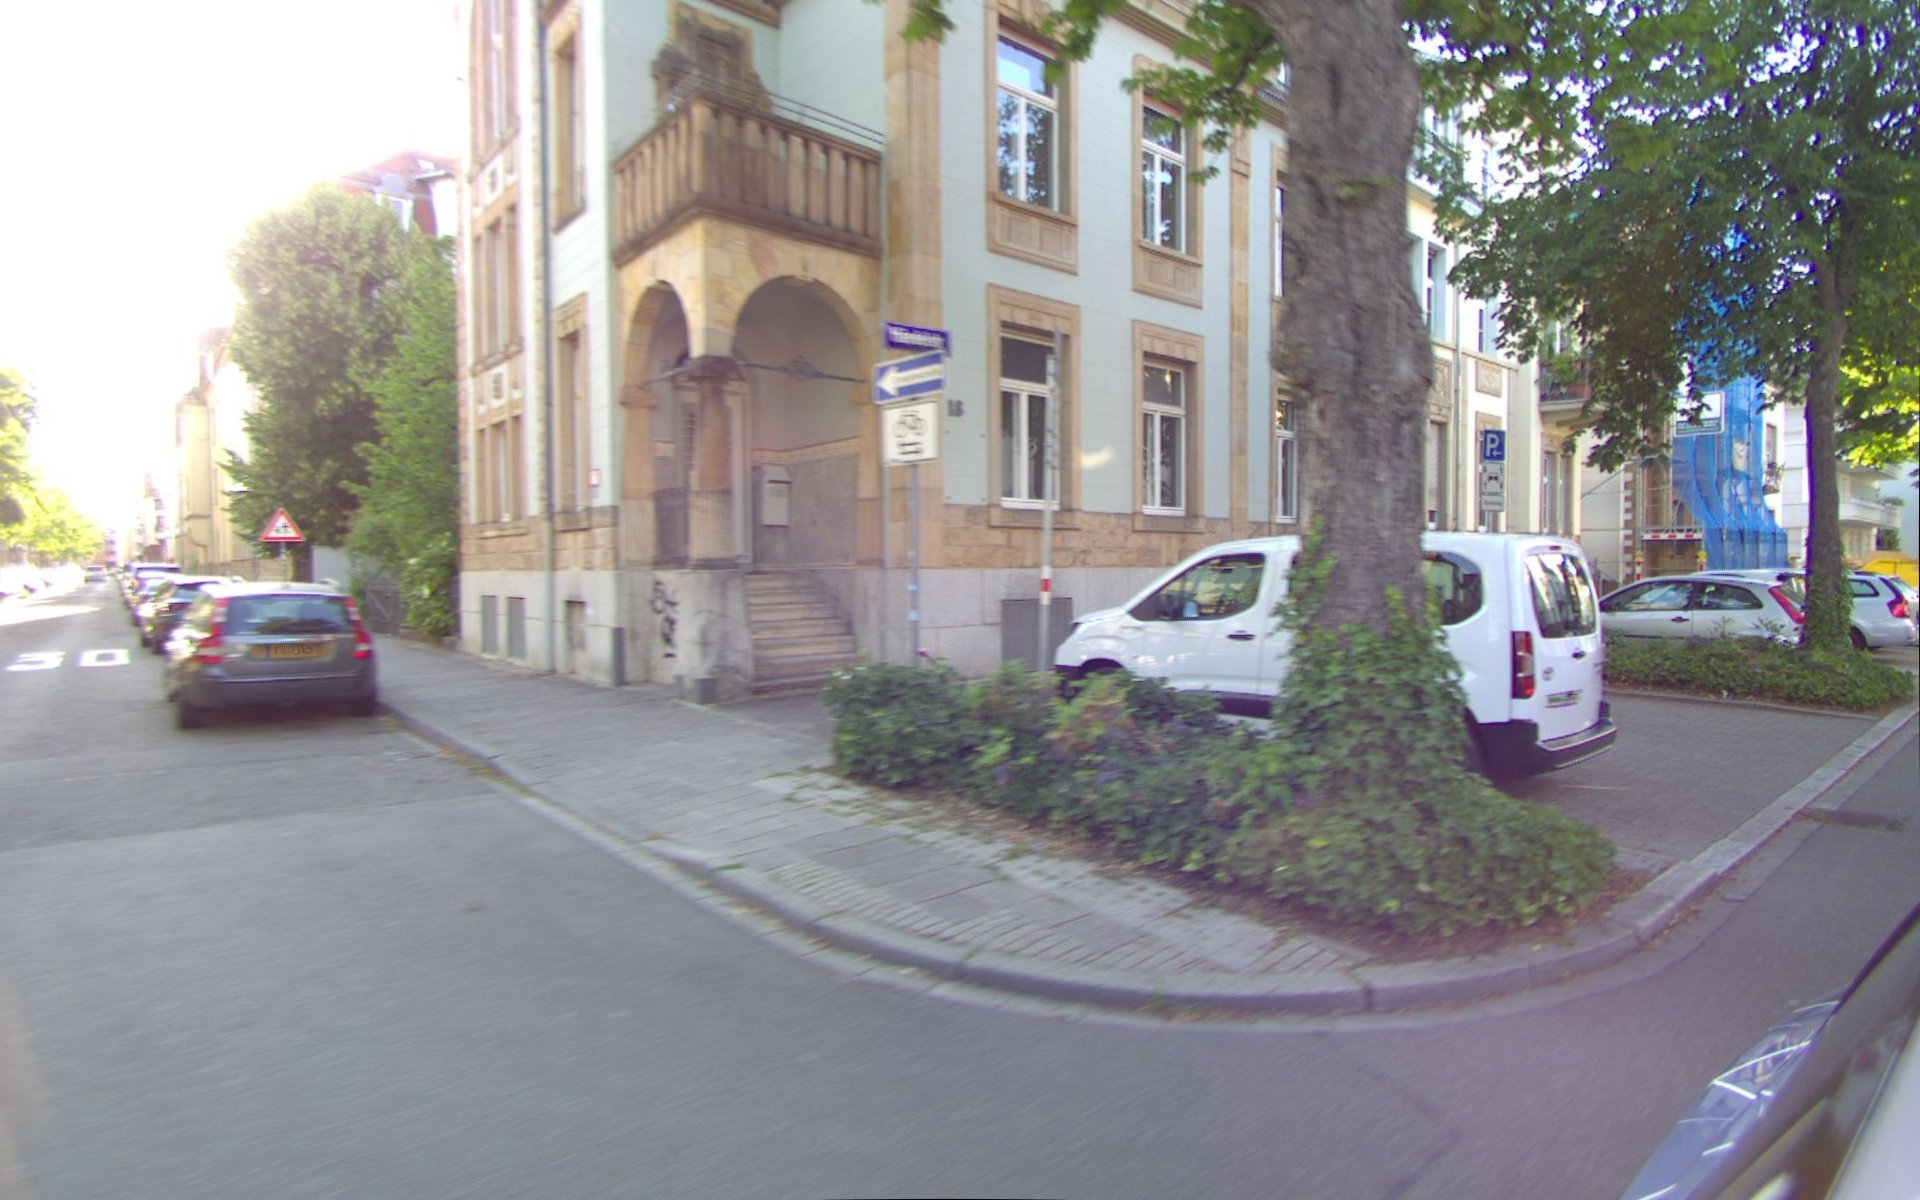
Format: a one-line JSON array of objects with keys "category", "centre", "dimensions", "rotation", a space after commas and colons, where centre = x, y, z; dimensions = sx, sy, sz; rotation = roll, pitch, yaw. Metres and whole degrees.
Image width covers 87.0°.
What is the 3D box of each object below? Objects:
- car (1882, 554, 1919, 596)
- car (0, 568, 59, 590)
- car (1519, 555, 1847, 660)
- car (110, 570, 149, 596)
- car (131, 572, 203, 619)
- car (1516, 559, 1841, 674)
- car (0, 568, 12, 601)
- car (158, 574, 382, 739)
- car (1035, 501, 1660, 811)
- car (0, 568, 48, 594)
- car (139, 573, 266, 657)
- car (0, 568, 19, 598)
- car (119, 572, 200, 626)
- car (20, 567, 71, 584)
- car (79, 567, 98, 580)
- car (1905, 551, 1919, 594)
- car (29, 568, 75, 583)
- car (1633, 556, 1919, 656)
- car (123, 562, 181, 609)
[{"category": "car", "centre": [41.342, -1.015, 42.032], "dimensions": [1.677, 1.703, 4.337], "rotation": [-1, 3, -43]}, {"category": "car", "centre": [-70.824, -1.600, 76.672], "dimensions": [3.724, 1.616, 1.669], "rotation": [-1, 2, -41]}, {"category": "car", "centre": [12.400, 0.015, 17.596], "dimensions": [1.796, 1.553, 4.323], "rotation": [-2, 4, -40]}, {"category": "car", "centre": [-50.390, -1.048, 61.380], "dimensions": [1.727, 1.494, 4.164], "rotation": [-1, 2, -41]}, {"category": "car", "centre": [-27.115, -0.216, 34.558], "dimensions": [1.727, 1.494, 4.164], "rotation": [-1, 2, -41]}, {"category": "car", "centre": [10.891, 0.139, 15.547], "dimensions": [1.704, 1.480, 3.756], "rotation": [-2, 4, -41]}, {"category": "car", "centre": [-49.186, -0.759, 49.712], "dimensions": [3.724, 1.616, 1.669], "rotation": [-1, 2, -41]}, {"category": "car", "centre": [-7.901, 0.479, 11.421], "dimensions": [1.627, 1.494, 4.164], "rotation": [0, 1, -41]}, {"category": "car", "centre": [2.837, 0.206, 8.236], "dimensions": [1.965, 1.829, 4.323], "rotation": [-2, 4, -41]}, {"category": "car", "centre": [-59.616, -1.204, 63.305], "dimensions": [3.724, 1.616, 1.669], "rotation": [-1, 2, -41]}, {"category": "car", "centre": [-15.089, 0.210, 20.088], "dimensions": [1.727, 1.494, 4.164], "rotation": [-1, 2, -41]}, {"category": "car", "centre": [-52.429, -0.910, 53.569], "dimensions": [3.724, 1.616, 1.669], "rotation": [-1, 2, -41]}, {"category": "car", "centre": [-24.041, -0.097, 30.344], "dimensions": [1.727, 1.494, 4.164], "rotation": [-1, 2, -41]}, {"category": "car", "centre": [-90.812, -2.430, 100.556], "dimensions": [3.724, 1.616, 1.669], "rotation": [-1, 2, -41]}, {"category": "car", "centre": [-104.187, -3.215, 120.956], "dimensions": [1.727, 1.494, 4.164], "rotation": [-1, 2, -41]}, {"category": "car", "centre": [47.278, -1.290, 47.268], "dimensions": [1.864, 2.038, 4.476], "rotation": [-2, 2, -42]}, {"category": "car", "centre": [-99.157, -2.733, 110.547], "dimensions": [3.724, 1.616, 1.669], "rotation": [-1, 2, -41]}, {"category": "car", "centre": [14.889, 0.016, 18.349], "dimensions": [1.656, 1.553, 4.156], "rotation": [-2, 4, -38]}, {"category": "car", "centre": [-33.560, -0.619, 41.997], "dimensions": [1.727, 1.862, 4.164], "rotation": [-1, 2, -41]}]
